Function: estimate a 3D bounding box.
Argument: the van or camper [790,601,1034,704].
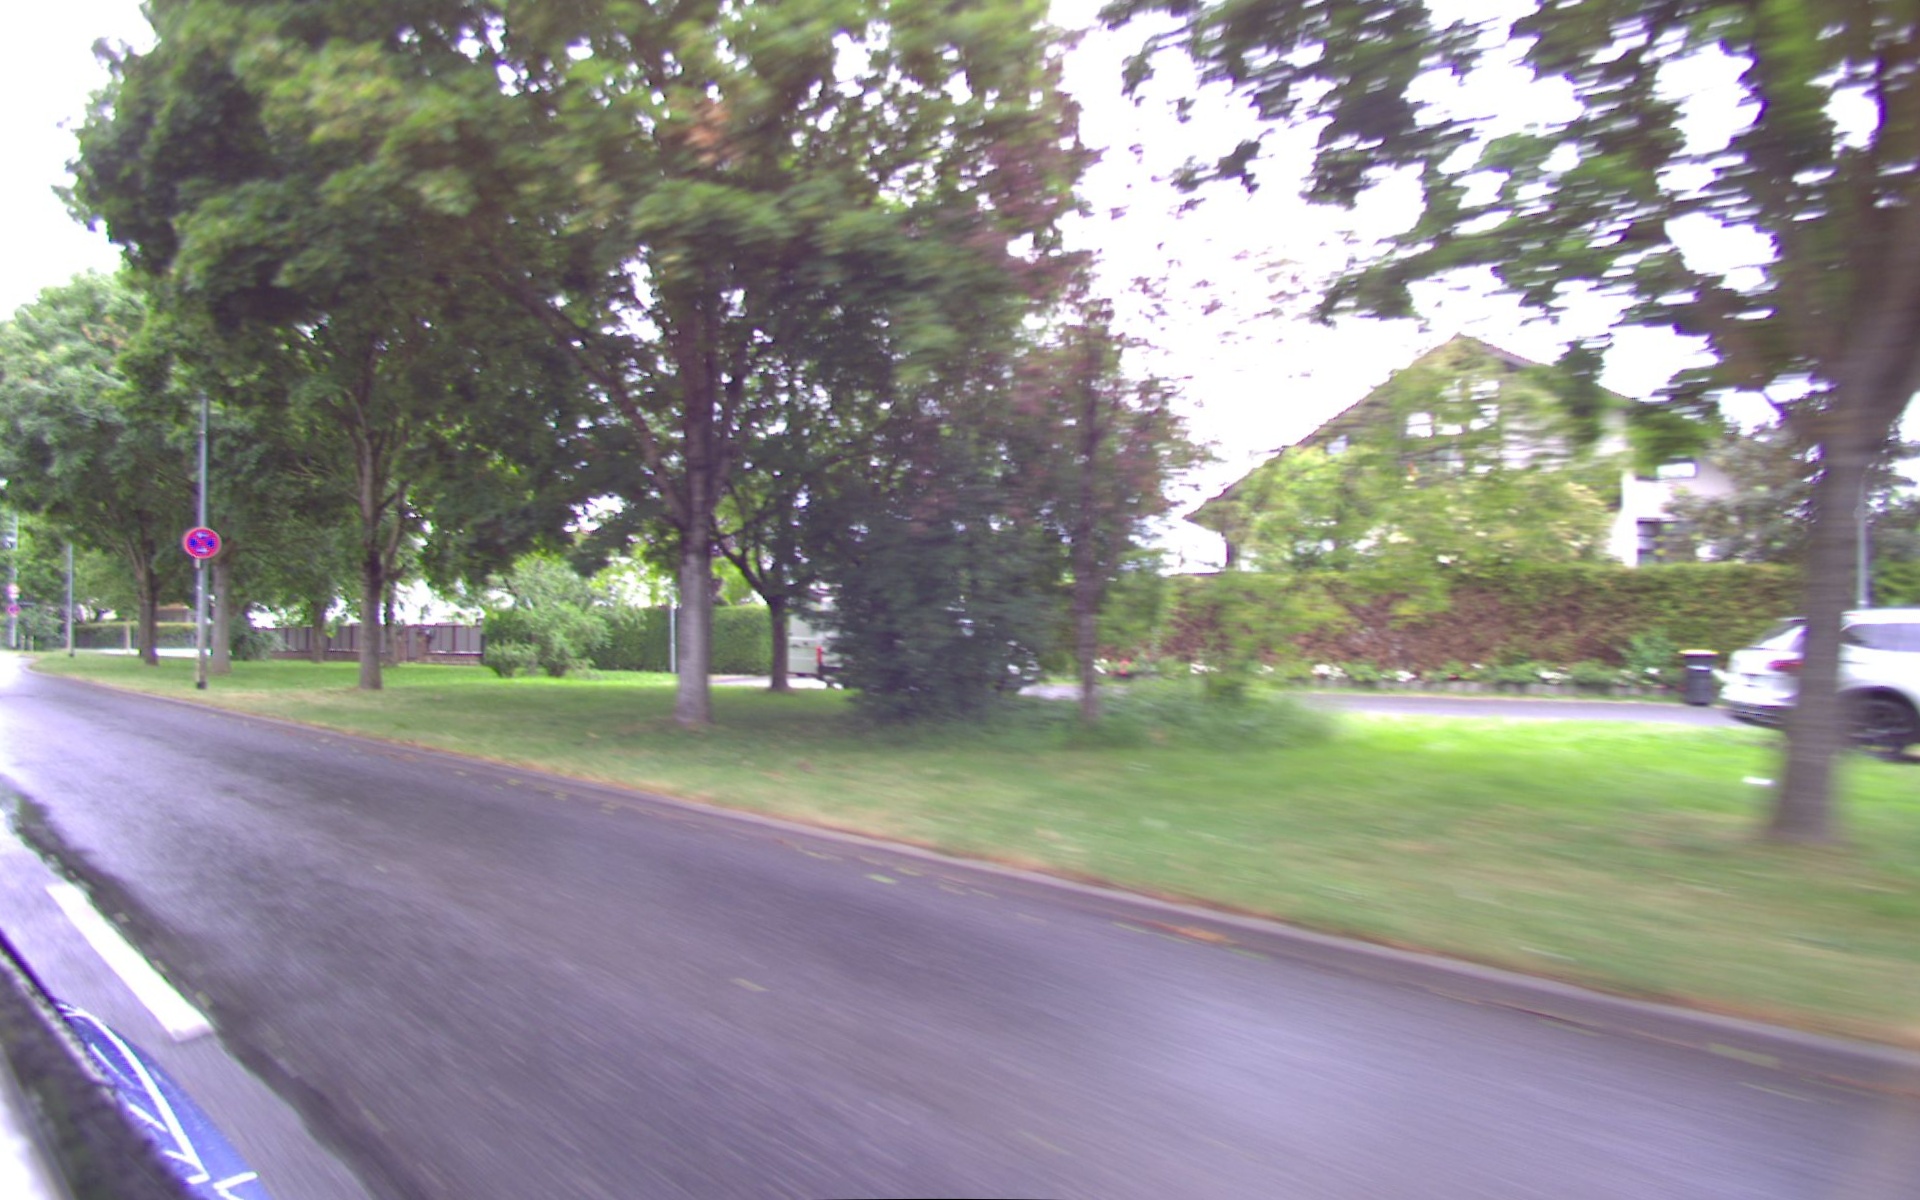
[{"bbox_3d":[-1.302,1.312,25.642,6.134,2.353,2.073,-2,-3,33],"label":"van or camper"}]

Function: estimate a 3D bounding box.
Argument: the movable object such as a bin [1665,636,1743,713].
[{"bbox_3d":[15.119,1.489,20.607,1.165,1.478,1.075,-2,0,32],"label":"movable object such as a bin"}]

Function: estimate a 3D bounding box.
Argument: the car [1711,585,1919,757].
[{"bbox_3d":[11.433,0.800,11.018,4.864,1.783,1.896,1,-2,22],"label":"car"}]

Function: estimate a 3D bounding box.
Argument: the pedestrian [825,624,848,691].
[{"bbox_3d":[-3.323,1.548,27.266,0.399,1.796,0.480,-2,-3,32],"label":"pedestrian"}]

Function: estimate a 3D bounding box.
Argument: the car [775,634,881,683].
[{"bbox_3d":[-4.634,2.053,36.054,1.894,1.606,3.963,-1,-3,27],"label":"car"}]
